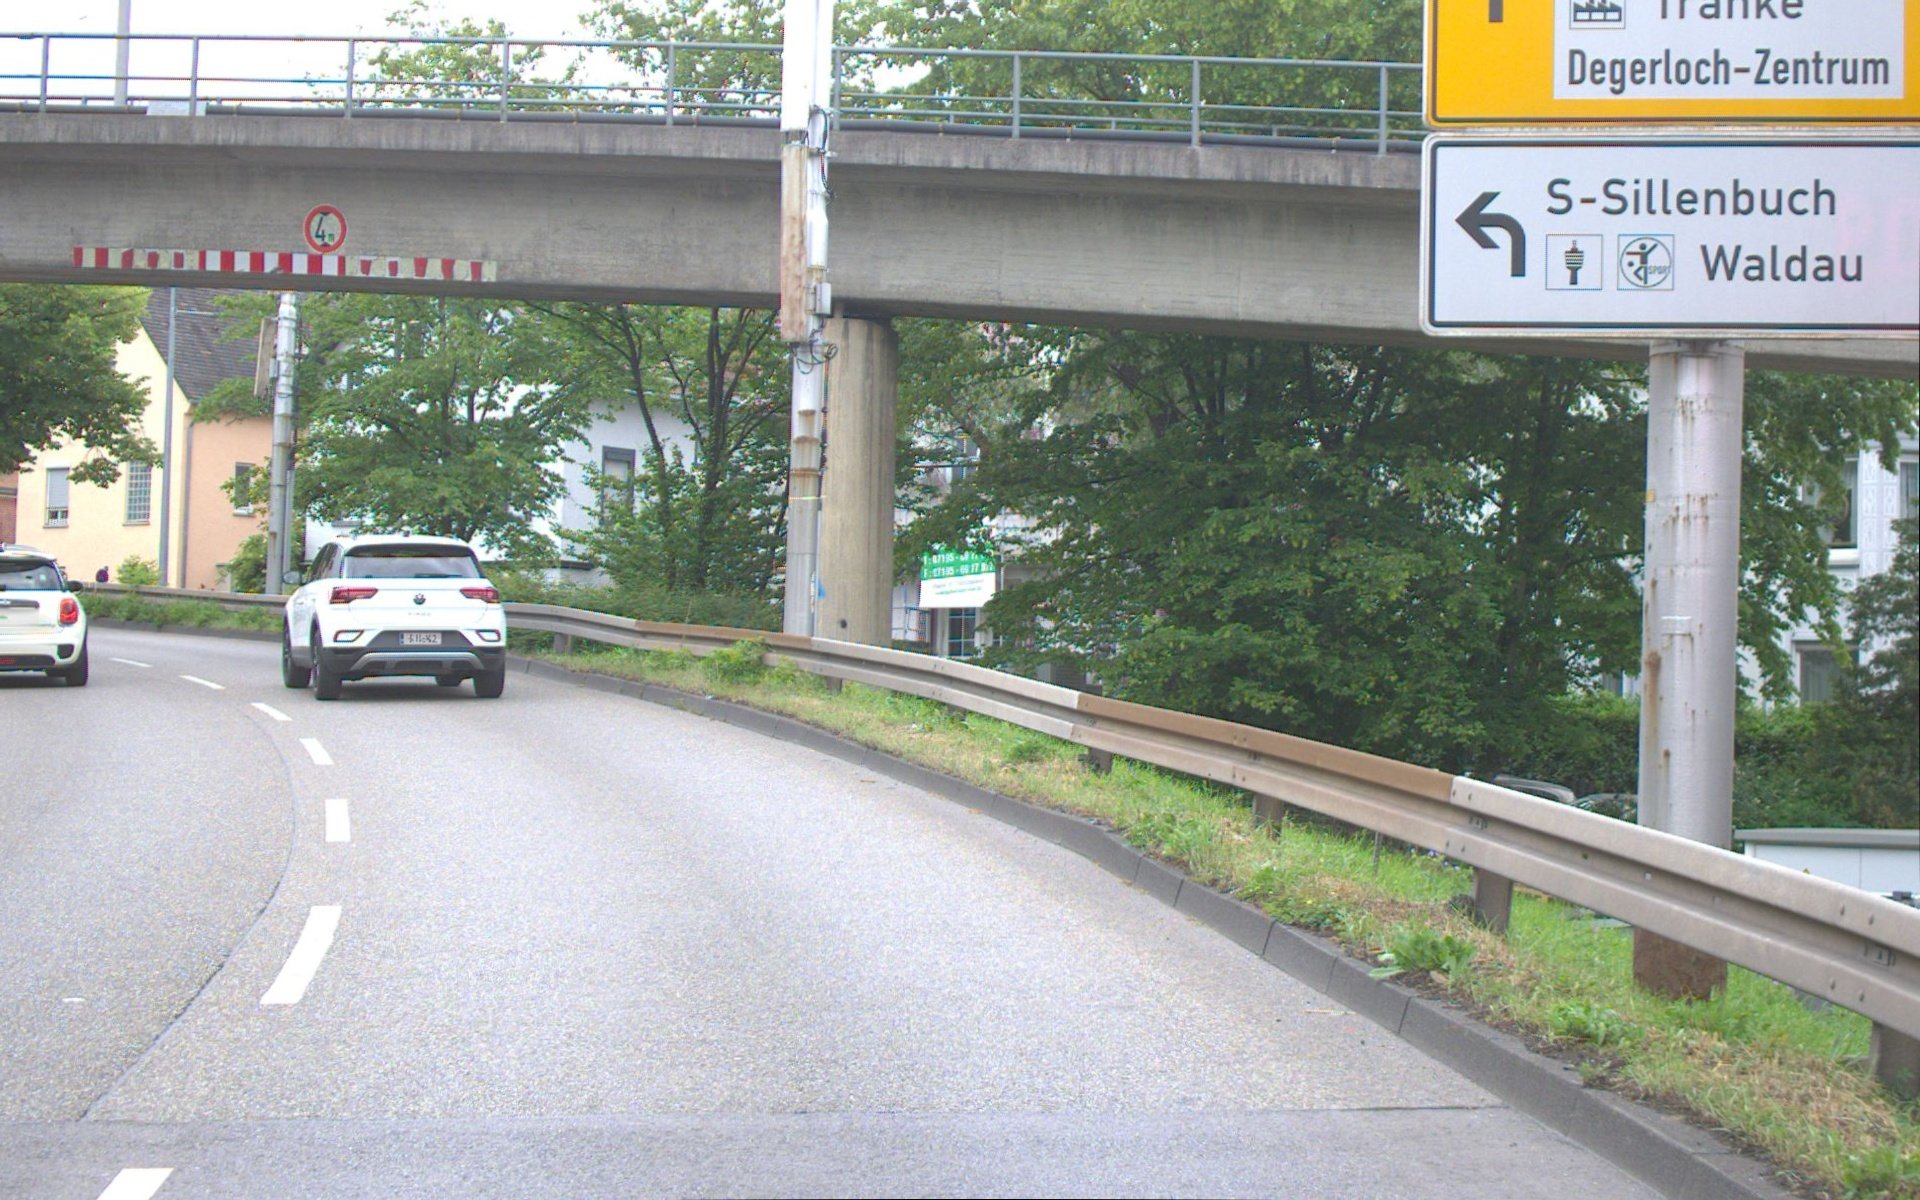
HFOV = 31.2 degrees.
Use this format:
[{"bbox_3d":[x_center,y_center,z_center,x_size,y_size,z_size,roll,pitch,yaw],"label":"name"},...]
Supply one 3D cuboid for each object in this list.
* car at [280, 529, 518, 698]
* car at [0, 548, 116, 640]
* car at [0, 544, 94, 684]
[{"bbox_3d":[-5.484,0.097,33.300,1.796,1.513,3.458,1,1,-17],"label":"car"},{"bbox_3d":[-15.050,-0.122,56.407,1.675,1.404,3.457,1,1,-25],"label":"car"},{"bbox_3d":[-10.163,0.106,36.062,1.722,1.371,3.458,1,1,-20],"label":"car"}]
